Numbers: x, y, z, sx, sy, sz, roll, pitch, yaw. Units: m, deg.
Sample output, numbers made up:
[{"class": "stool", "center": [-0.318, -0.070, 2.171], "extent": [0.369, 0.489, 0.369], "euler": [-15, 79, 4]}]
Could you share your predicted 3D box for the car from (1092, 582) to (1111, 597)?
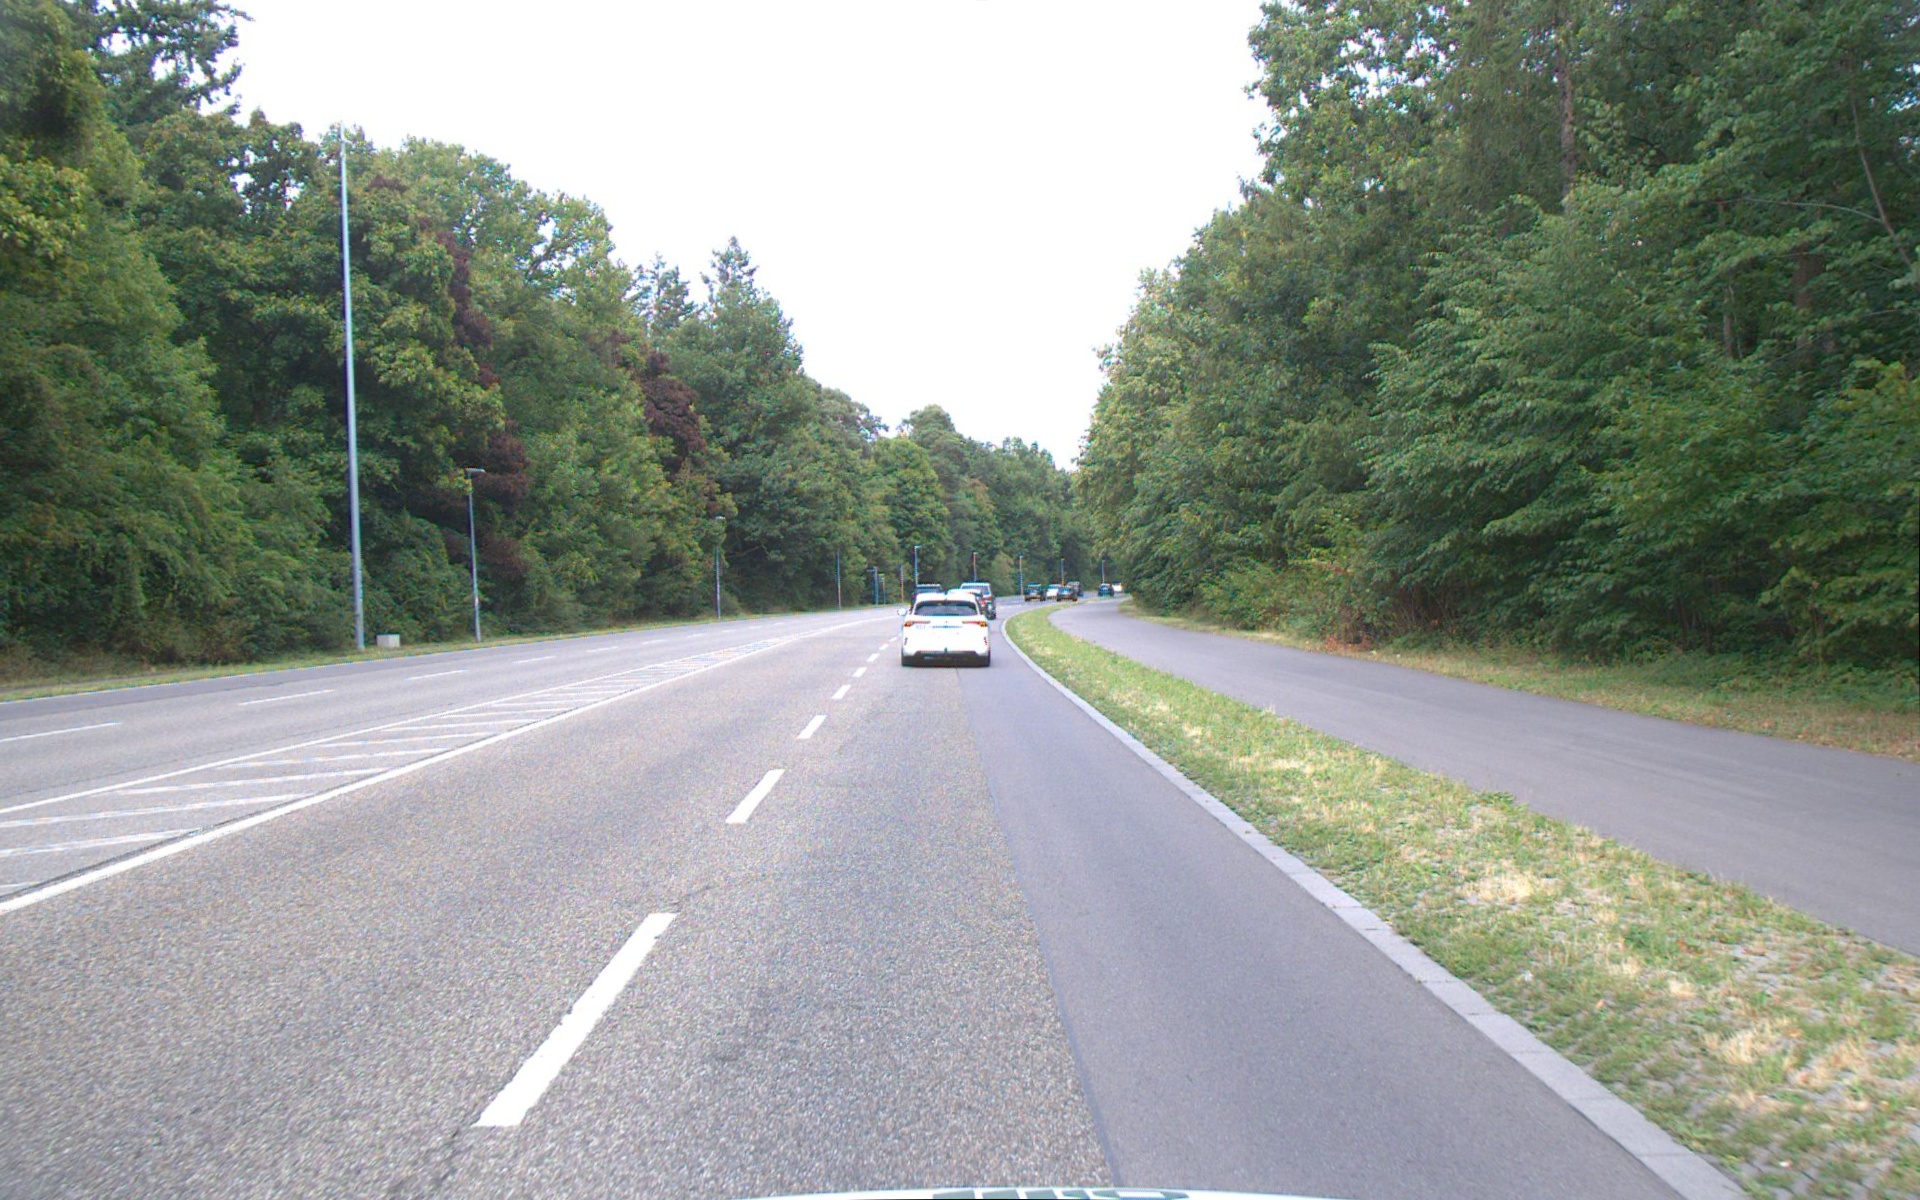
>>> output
[{"class": "car", "center": [17.650, -1.329, 206.530], "extent": [1.951, 1.814, 4.003], "euler": [1, 0, 11]}]

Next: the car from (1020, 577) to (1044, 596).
[{"class": "car", "center": [7.133, -1.324, 163.107], "extent": [1.951, 1.814, 4.003], "euler": [1, 0, 8]}]

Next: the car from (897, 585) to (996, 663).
[{"class": "car", "center": [-0.340, 0.468, 33.518], "extent": [1.800, 1.435, 4.488], "euler": [1, 0, -3]}]

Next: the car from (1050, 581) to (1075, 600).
[{"class": "car", "center": [9.984, -0.903, 161.206], "extent": [1.951, 1.814, 4.003], "euler": [1, 0, 11]}]

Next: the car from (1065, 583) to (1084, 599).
[{"class": "car", "center": [13.817, -1.062, 199.668], "extent": [1.951, 1.814, 4.003], "euler": [1, 0, 9]}]

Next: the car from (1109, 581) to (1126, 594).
[{"class": "car", "center": [23.515, -1.808, 246.594], "extent": [1.848, 1.847, 4.003], "euler": [1, 0, 15]}]

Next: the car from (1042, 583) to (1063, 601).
[{"class": "car", "center": [10.164, -0.887, 181.398], "extent": [1.951, 1.814, 4.003], "euler": [1, 0, 9]}]

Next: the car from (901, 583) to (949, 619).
[{"class": "car", "center": [-1.852, 0.062, 87.785], "extent": [1.951, 1.818, 4.003], "euler": [1, 0, 7]}]

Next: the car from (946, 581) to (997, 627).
[{"class": "car", "center": [0.349, 0.135, 55.772], "extent": [1.602, 1.445, 3.999], "euler": [1, 0, -1]}]

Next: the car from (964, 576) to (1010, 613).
[{"class": "car", "center": [1.301, -0.237, 78.378], "extent": [1.952, 1.635, 4.002], "euler": [1, 0, 4]}]
